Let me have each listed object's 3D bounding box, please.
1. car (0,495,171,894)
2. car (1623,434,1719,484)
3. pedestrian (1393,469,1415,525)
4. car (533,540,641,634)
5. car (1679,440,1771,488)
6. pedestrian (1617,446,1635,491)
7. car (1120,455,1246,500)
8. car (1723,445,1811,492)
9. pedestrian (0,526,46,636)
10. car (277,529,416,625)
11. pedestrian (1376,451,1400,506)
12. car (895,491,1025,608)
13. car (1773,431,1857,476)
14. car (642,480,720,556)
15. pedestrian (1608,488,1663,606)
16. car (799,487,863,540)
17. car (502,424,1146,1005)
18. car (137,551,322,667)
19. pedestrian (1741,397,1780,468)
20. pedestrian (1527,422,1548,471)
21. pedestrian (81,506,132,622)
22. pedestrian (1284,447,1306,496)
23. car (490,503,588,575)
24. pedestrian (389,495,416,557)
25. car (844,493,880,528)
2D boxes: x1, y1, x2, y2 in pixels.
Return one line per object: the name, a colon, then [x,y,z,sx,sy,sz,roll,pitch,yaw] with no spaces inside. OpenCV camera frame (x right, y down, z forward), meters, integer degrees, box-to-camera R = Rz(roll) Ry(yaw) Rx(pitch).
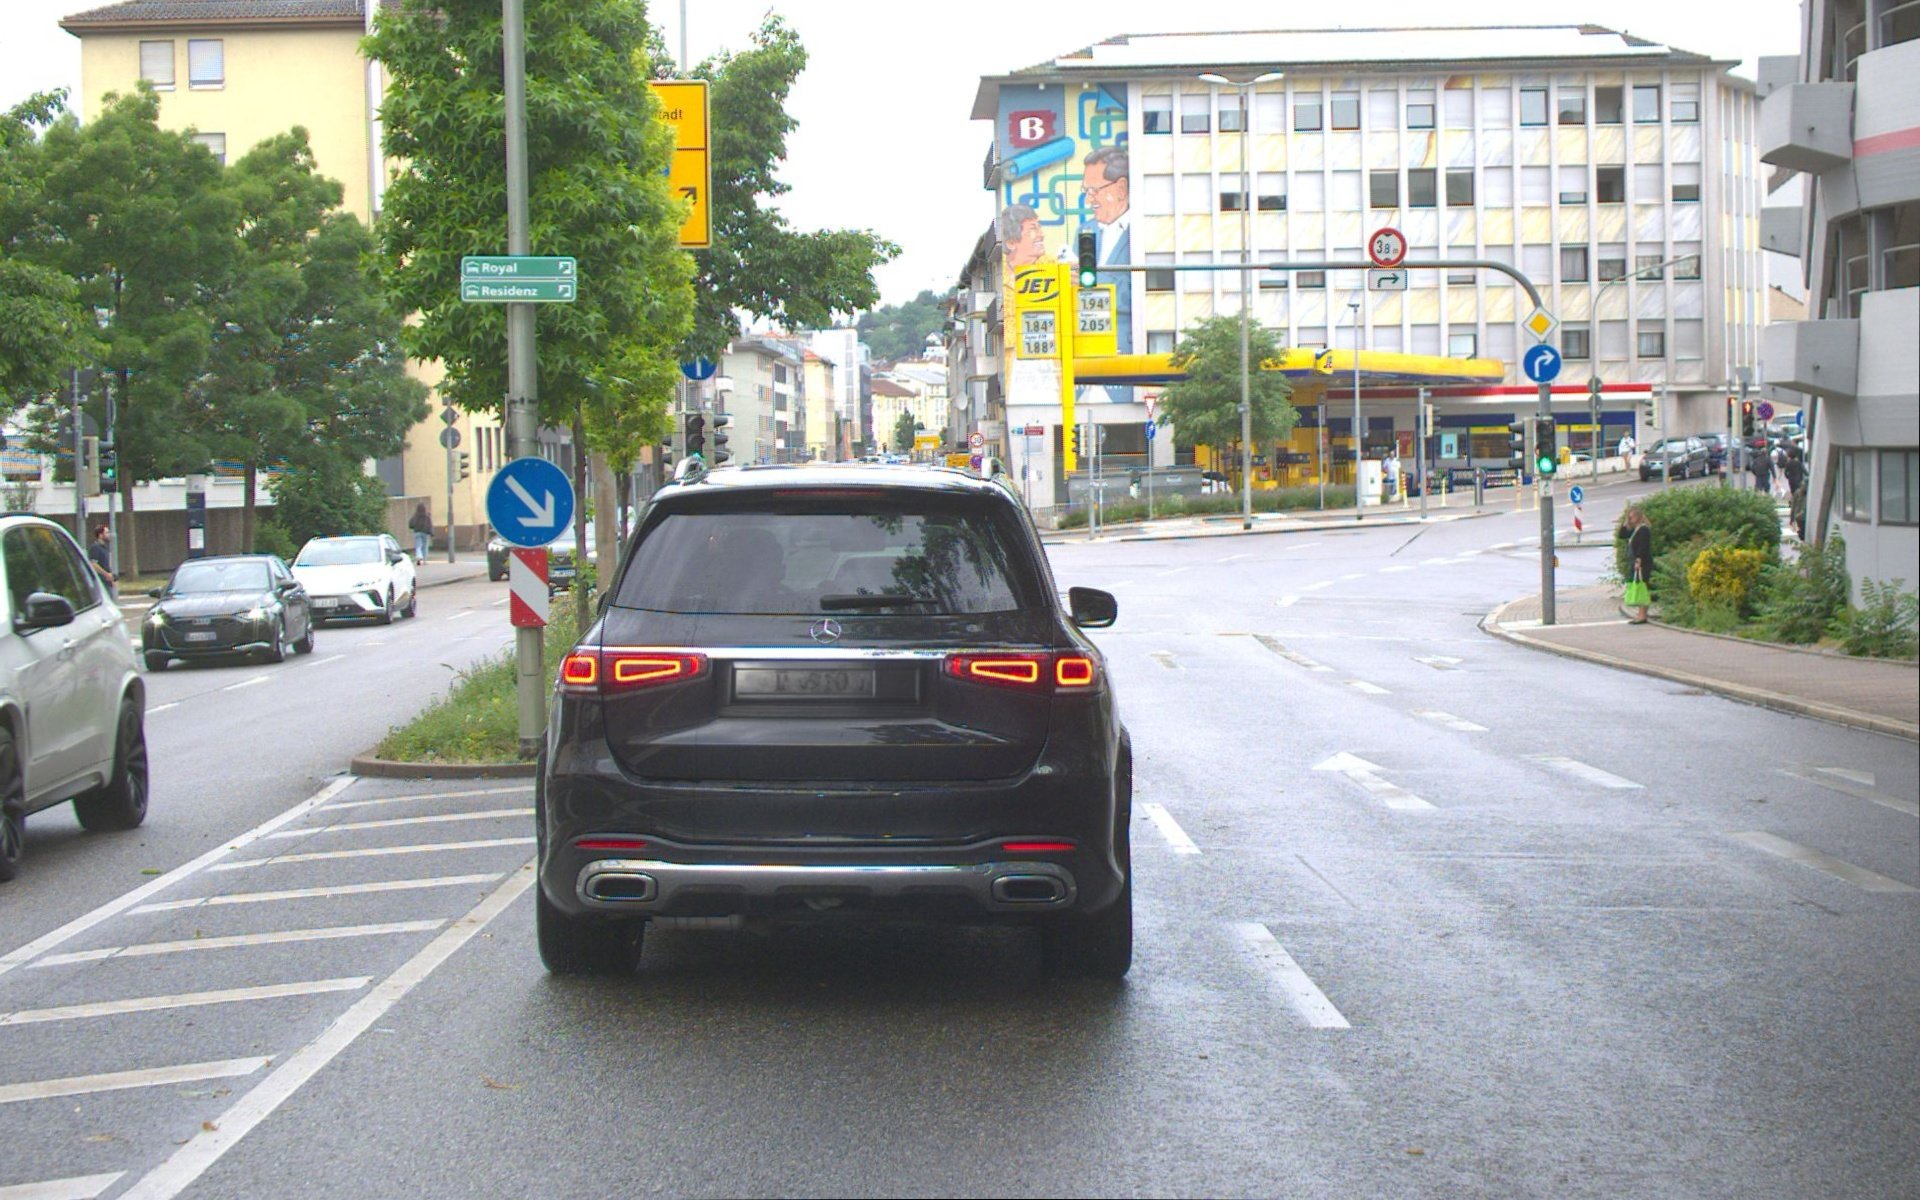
car: [-5.369,0.447,17.045,1.891,1.805,4.575,-3,1,-2]
car: [25.525,-5.062,123.321,1.997,1.700,3.993,0,2,33]
pedestrian: [13.561,-3.137,105.100,0.572,1.691,0.631,1,0,1]
car: [-7.083,-0.279,65.622,1.732,1.620,4.232,-3,1,-3]
car: [28.401,-5.050,127.587,1.997,1.700,3.993,0,2,33]
pedestrian: [24.351,-4.815,125.705,0.484,1.635,0.438,1,0,28]
car: [7.347,-4.033,113.305,1.732,1.371,3.998,-3,2,-44]
car: [30.957,-5.042,131.803,1.997,1.700,3.993,0,2,33]
pedestrian: [-14.324,-0.294,52.298,0.689,1.650,0.613,-2,2,-22]
car: [-10.326,-0.415,58.130,1.732,1.464,4.232,-3,1,-3]
pedestrian: [13.425,-3.814,107.914,0.526,1.721,0.688,0,2,27]
car: [-0.021,-0.799,55.315,1.993,1.794,4.000,1,0,-1]
car: [34.064,-5.848,136.891,1.997,1.700,3.993,0,2,33]
car: [-7.264,-2.149,89.976,1.792,1.847,4.793,-3,1,-3]
pedestrian: [9.857,-0.775,50.174,0.646,1.704,0.470,1,0,36]
car: [-4.164,-2.771,111.047,1.993,1.609,4.190,1,0,-2]
car: [-0.448,0.345,12.793,1.993,1.794,4.000,1,0,-1]
car: [-9.778,0.091,46.279,1.732,1.389,4.200,-3,1,-3]
pedestrian: [24.472,-5.128,105.143,0.854,2.121,0.948,-2,2,-6]
pedestrian: [20.388,-5.405,121.381,0.526,1.721,0.688,0,2,27]
pedestrian: [-13.017,-0.553,52.433,0.687,1.751,0.718,-1,2,-11]
pedestrian: [11.821,-4.519,121.155,0.527,1.721,0.688,0,2,29]
car: [-10.136,-1.483,82.951,1.888,1.581,4.537,-3,1,-2]
pedestrian: [-15.546,-2.069,95.842,0.648,1.721,0.629,-2,2,-4]
car: [-5.888,-5.332,205.980,1.993,2.007,4.000,1,0,0]
